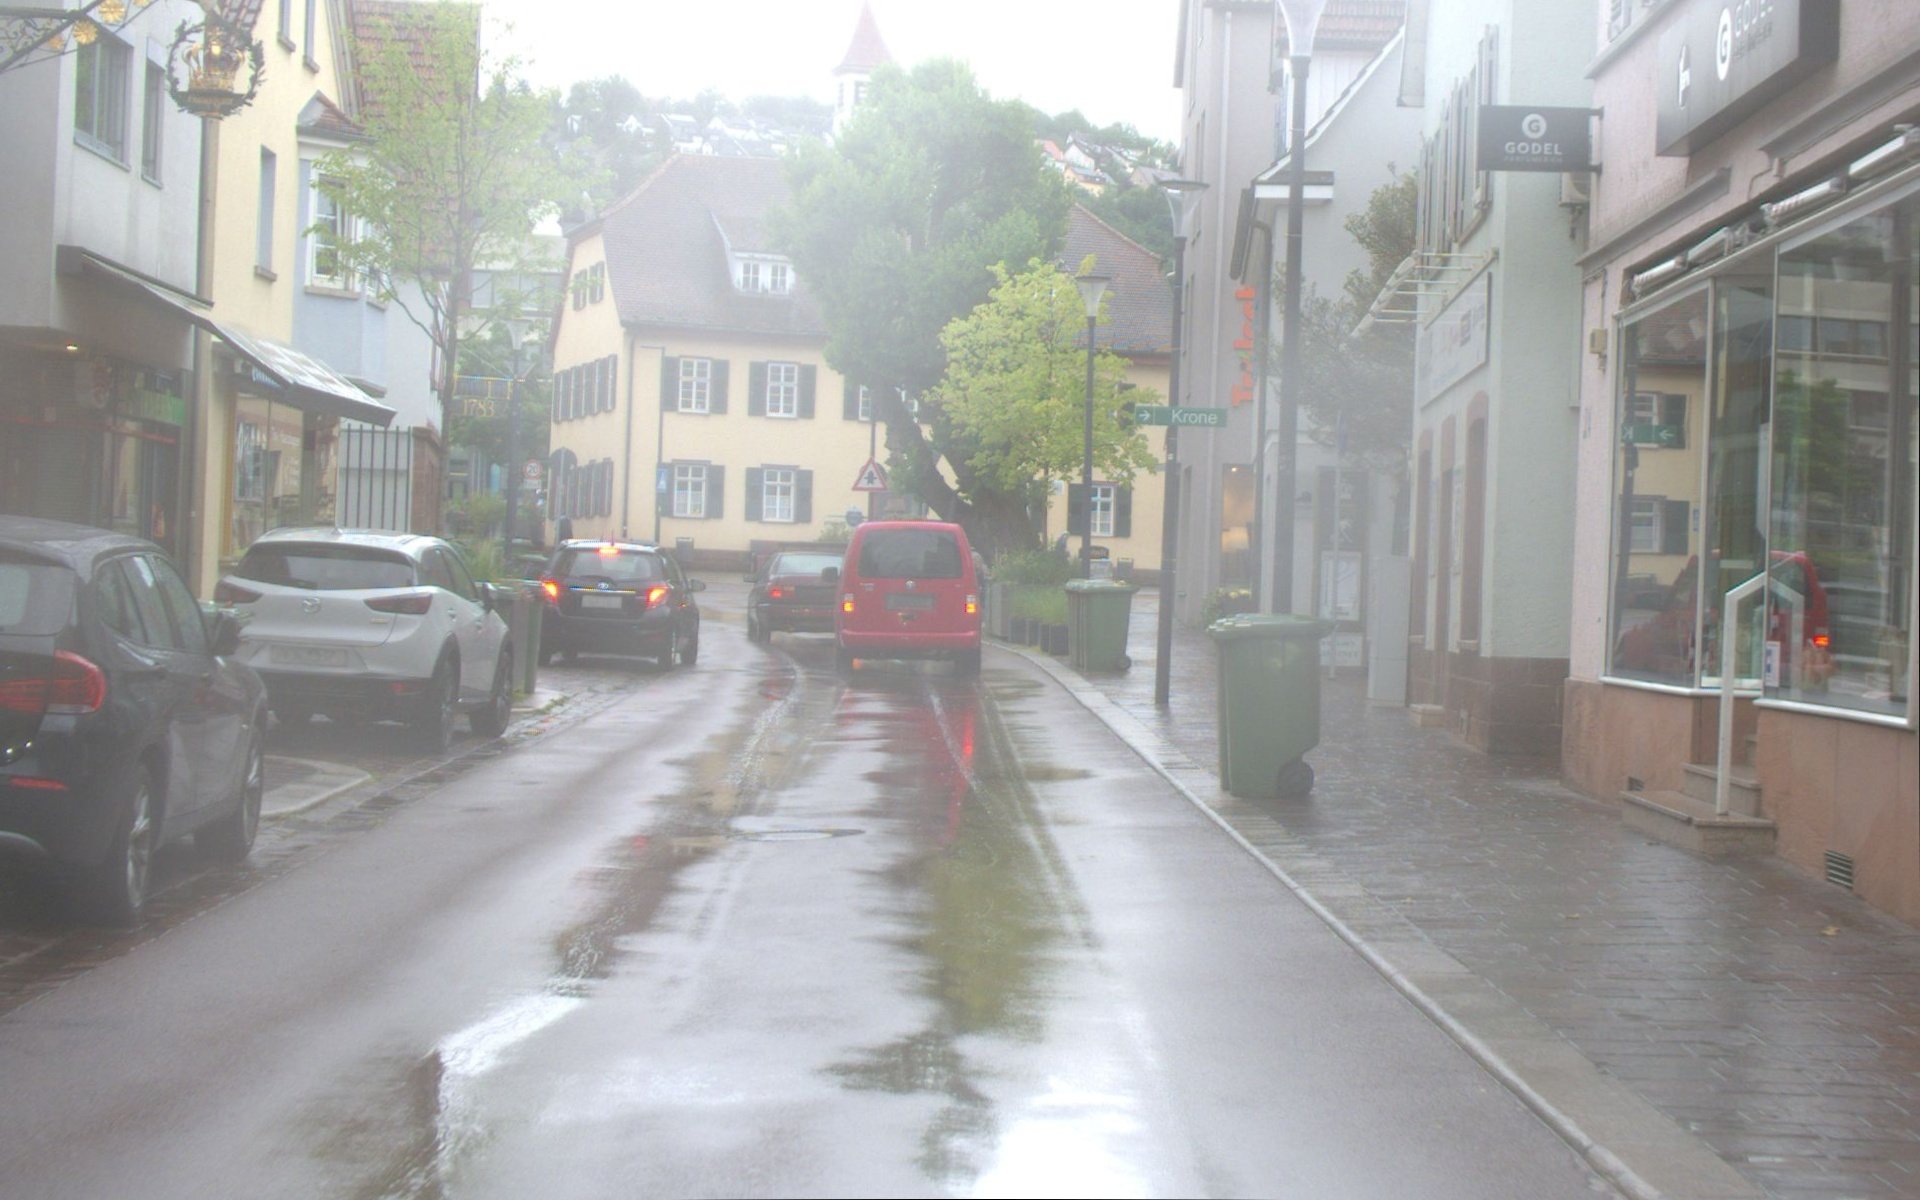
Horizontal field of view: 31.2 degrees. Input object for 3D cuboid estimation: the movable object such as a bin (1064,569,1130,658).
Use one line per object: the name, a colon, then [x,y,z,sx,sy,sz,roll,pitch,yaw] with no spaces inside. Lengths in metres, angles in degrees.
movable object such as a bin: [1.707,0.170,42.940,0.754,1.060,0.600,3,-1,1]

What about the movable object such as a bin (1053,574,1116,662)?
movable object such as a bin: [1.618,0.236,44.770,0.735,1.094,0.611,3,-1,-1]

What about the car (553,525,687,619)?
car: [-6.176,-0.523,62.132,1.787,1.490,4.002,3,1,-14]

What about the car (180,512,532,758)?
car: [-4.328,0.186,25.218,1.692,1.533,4.121,4,2,1]

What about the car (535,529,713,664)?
car: [-4.029,-0.077,41.716,1.692,1.438,3.885,3,2,0]

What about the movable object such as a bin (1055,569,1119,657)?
movable object such as a bin: [1.631,0.165,44.149,0.735,1.094,0.611,3,-1,-1]

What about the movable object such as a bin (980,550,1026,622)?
movable object such as a bin: [0.710,-0.226,56.867,0.631,1.146,0.580,3,-1,-8]

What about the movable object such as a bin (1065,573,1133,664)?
movable object such as a bin: [1.711,0.230,42.327,0.768,1.076,0.599,3,-1,1]

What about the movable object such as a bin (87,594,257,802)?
movable object such as a bin: [-4.283,0.527,18.717,0.769,1.078,0.676,3,-1,-5]

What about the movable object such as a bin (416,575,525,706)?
movable object such as a bin: [-4.325,0.354,30.429,0.787,1.081,0.693,4,2,2]

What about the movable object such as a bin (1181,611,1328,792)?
movable object such as a bin: [1.814,0.621,21.220,0.796,1.077,0.583,2,0,-3]

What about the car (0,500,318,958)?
car: [-3.992,0.397,14.530,1.780,1.533,4.290,4,2,-2]

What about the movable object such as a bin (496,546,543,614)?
movable object such as a bin: [-7.407,-0.334,57.773,0.725,1.106,0.597,3,-1,-8]

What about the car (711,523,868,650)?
car: [-2.688,-0.201,53.267,1.993,1.793,4.001,3,-1,-8]

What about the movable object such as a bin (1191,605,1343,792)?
movable object such as a bin: [1.834,0.584,20.582,0.792,1.077,0.615,2,0,-3]

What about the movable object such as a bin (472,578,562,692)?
movable object such as a bin: [-4.243,0.335,32.973,0.709,1.049,0.704,3,-1,1]

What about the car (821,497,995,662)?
car: [-0.584,-0.297,42.136,1.894,1.805,4.000,4,2,1]

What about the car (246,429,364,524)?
car: [-20.054,-3.713,105.008,2.299,2.593,6.960,3,-1,-20]
